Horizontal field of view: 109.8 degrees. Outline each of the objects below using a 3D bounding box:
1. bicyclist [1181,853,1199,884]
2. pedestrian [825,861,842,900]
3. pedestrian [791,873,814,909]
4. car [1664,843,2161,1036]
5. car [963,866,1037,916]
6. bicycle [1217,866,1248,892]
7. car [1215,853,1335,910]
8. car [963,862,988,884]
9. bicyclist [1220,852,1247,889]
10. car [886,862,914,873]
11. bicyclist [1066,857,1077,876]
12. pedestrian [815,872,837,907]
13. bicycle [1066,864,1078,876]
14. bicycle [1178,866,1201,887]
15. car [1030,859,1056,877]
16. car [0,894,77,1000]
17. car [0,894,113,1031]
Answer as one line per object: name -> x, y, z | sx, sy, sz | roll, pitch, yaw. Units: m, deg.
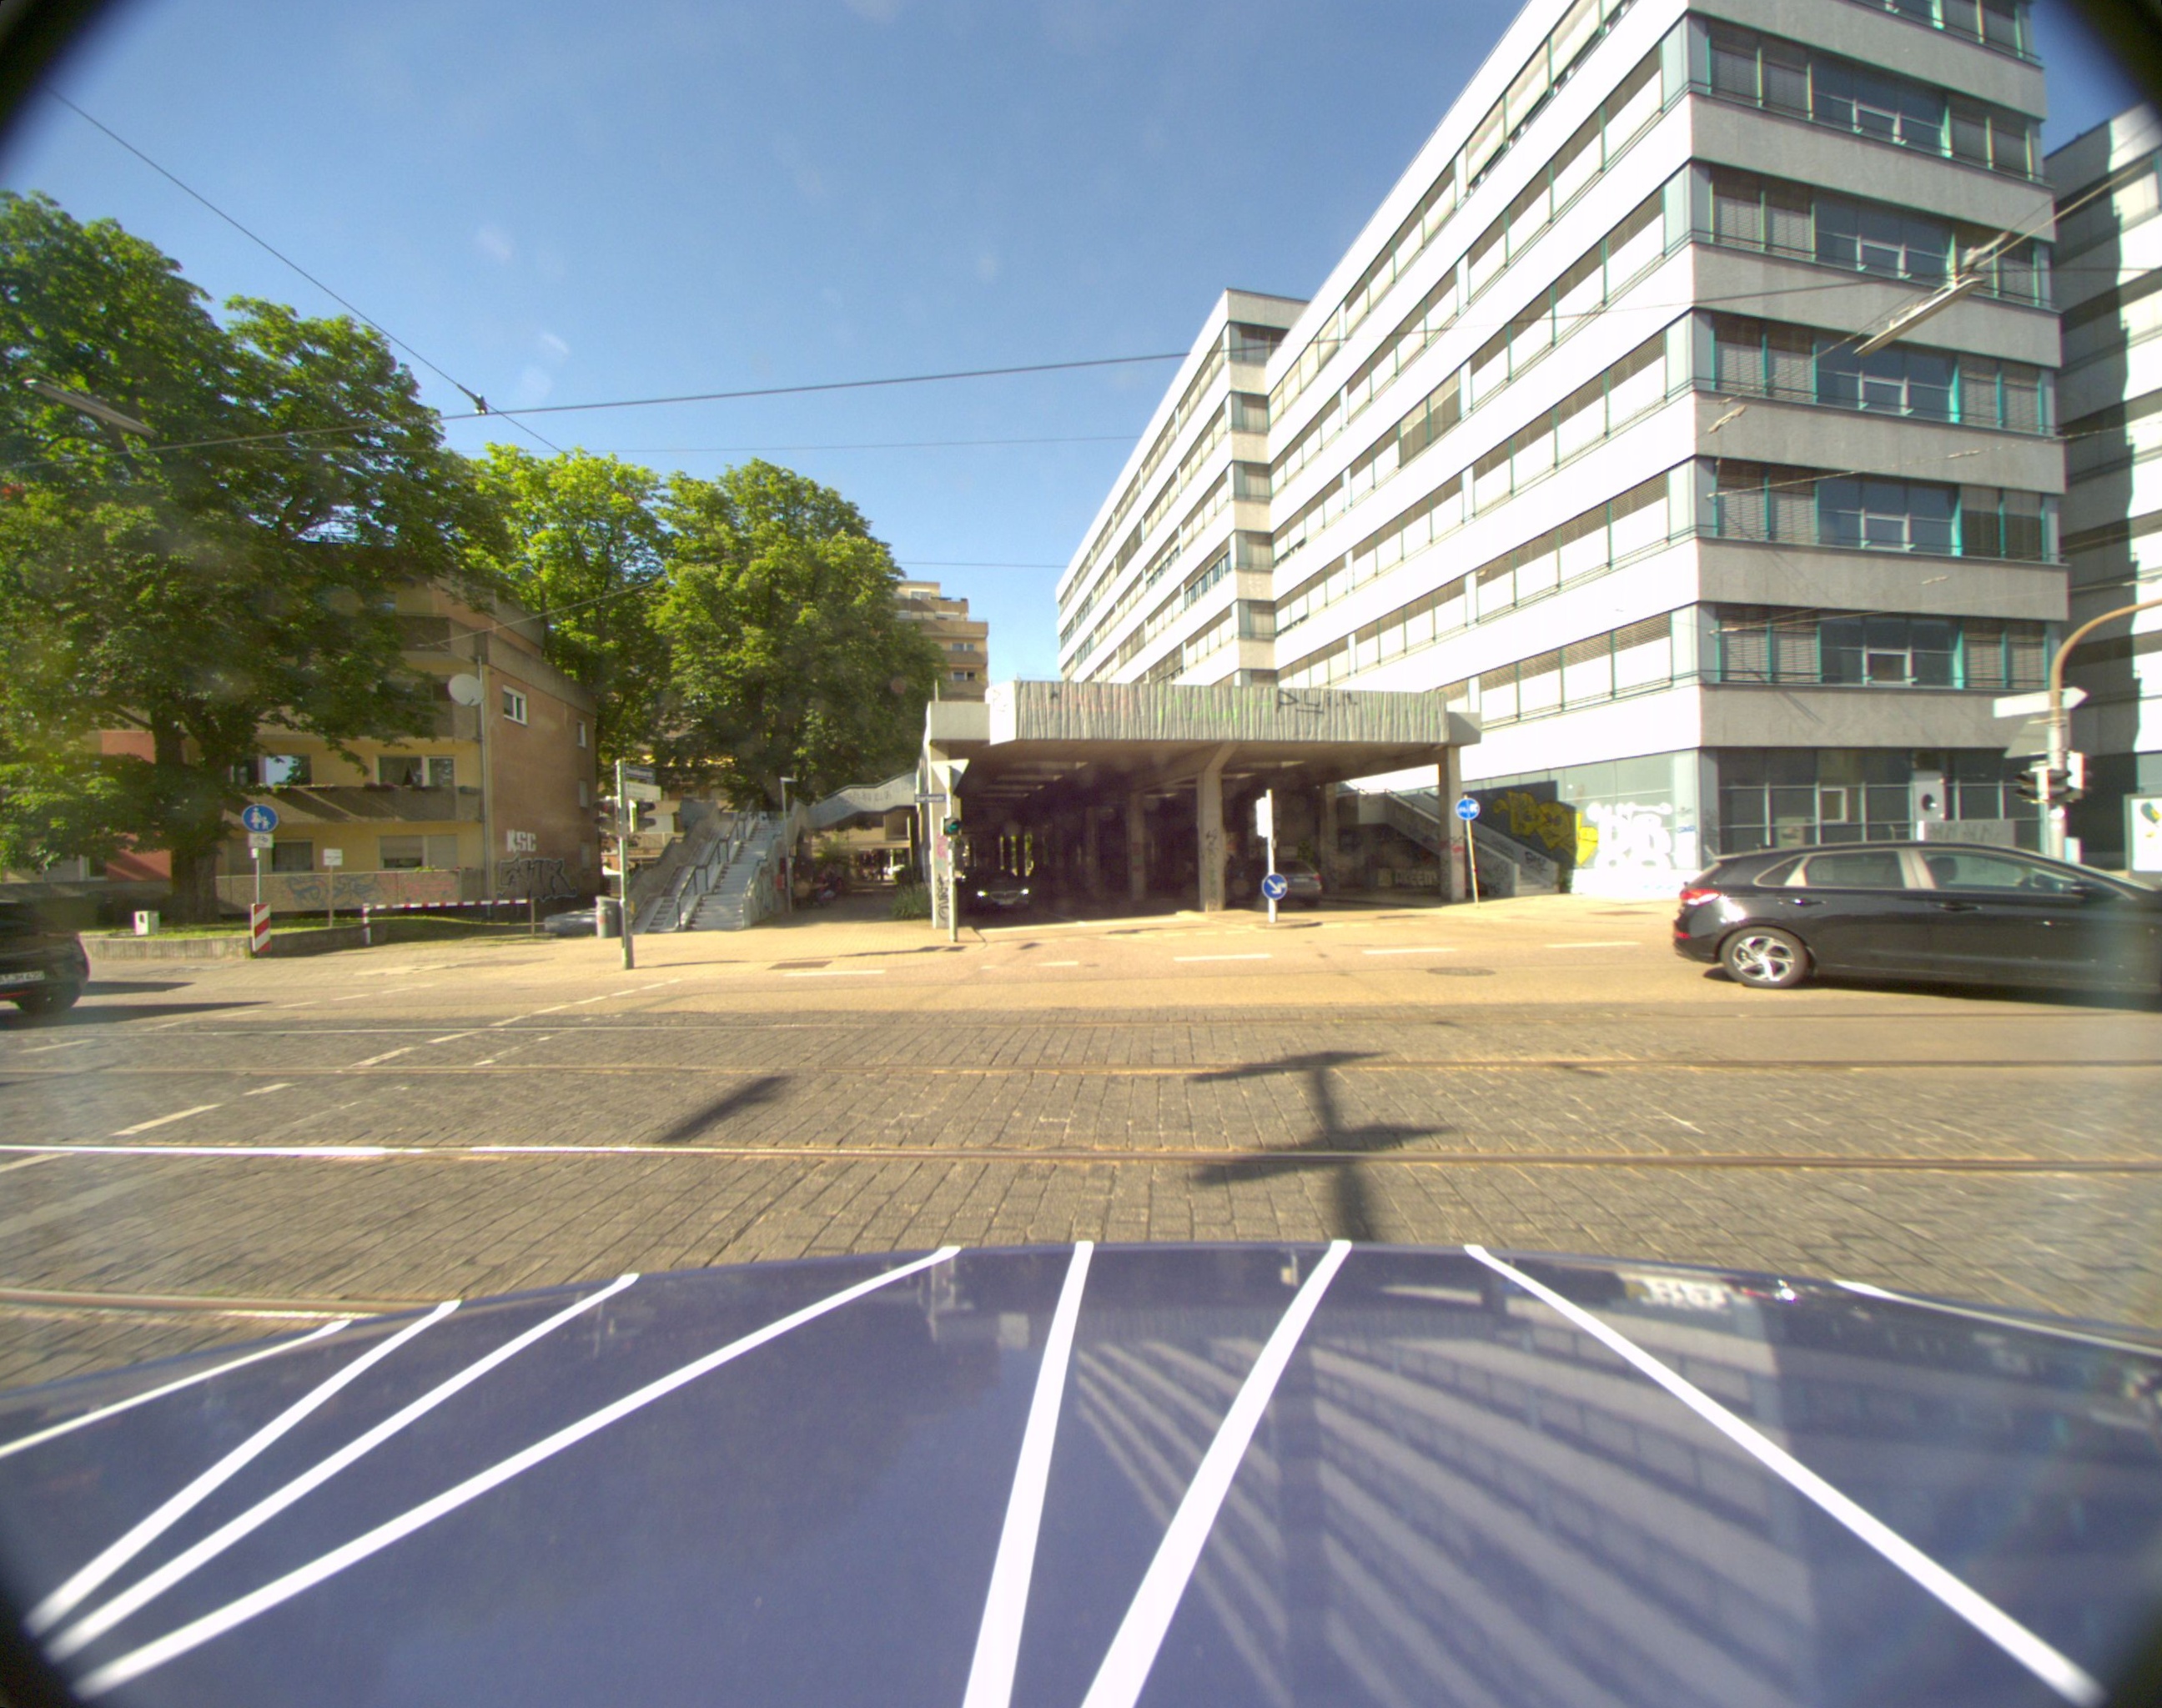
bicyclist -> 5.759, 0.767, 40.308 | 0.608, 1.623, 0.909 | -2, 0, -13
pedestrian -> -10.950, 1.149, 33.563 | 0.659, 1.681, 0.588 | -2, 1, -19
pedestrian -> -10.450, 1.374, 28.545 | 0.741, 1.291, 0.612 | -2, 1, -19
car -> 8.275, 0.665, 7.035 | 1.810, 1.443, 4.314 | -2, 0, -44
car -> -3.067, 1.269, 27.789 | 1.960, 1.546, 5.034 | -2, 0, -14
bicycle -> 6.901, 1.136, 34.777 | 0.543, 1.116, 2.056 | -2, 0, -13
car -> 6.086, 0.828, 24.384 | 1.892, 1.600, 4.143 | -2, 0, -15
car -> -8.102, 1.413, 58.154 | 1.618, 1.546, 4.009 | -2, 0, -12
bicyclist -> 6.945, 0.742, 34.649 | 0.785, 1.650, 1.030 | -2, 0, -13
car -> -25.719, 1.946, 108.073 | 3.580, 1.477, 1.668 | -2, 0, -2
bicyclist -> -0.874, 1.126, 70.278 | 0.748, 1.701, 0.966 | -2, -1, -14
pedestrian -> -9.683, 1.346, 28.842 | 0.725, 1.291, 0.589 | -2, 1, -20
bicycle -> -0.861, 1.507, 70.276 | 0.700, 1.083, 1.858 | -2, -2, -14
bicycle -> 5.759, 1.177, 40.314 | 0.527, 1.084, 1.858 | -2, 0, -13
car -> -3.290, 1.214, 65.675 | 1.663, 1.432, 3.459 | -2, 0, -13
car -> -18.973, 1.511, 11.879 | 4.317, 1.610, 1.937 | -1, 0, 5
car -> -14.302, 1.351, 8.843 | 3.752, 1.508, 1.787 | -2, 0, 1
